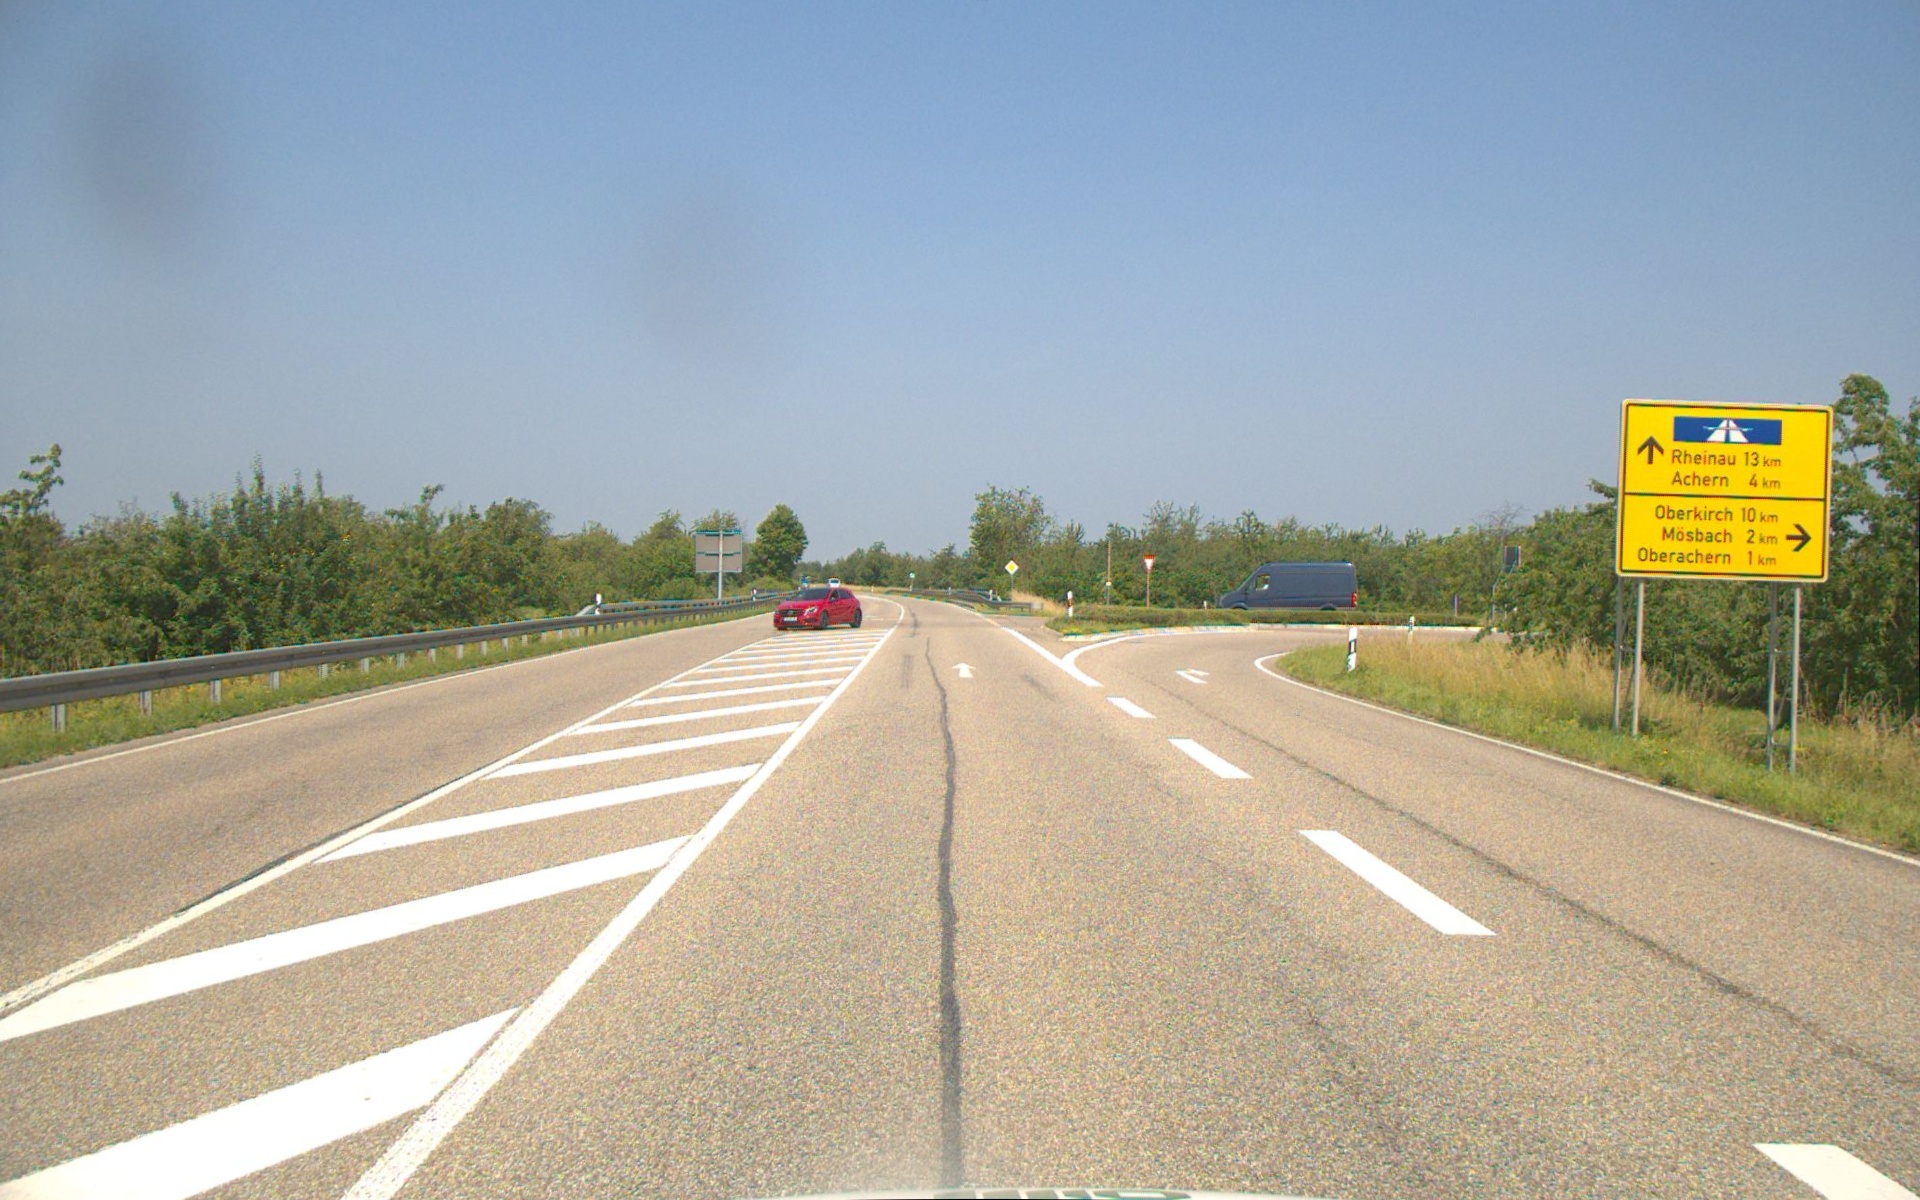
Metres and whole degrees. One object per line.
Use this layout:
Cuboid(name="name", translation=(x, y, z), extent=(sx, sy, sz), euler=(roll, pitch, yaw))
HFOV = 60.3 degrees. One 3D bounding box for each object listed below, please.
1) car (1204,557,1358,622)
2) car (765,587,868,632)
Cuboid(name="car", translation=(13.313, -0.413, 68.652), extent=(6.157, 2.620, 2.064), euler=(-1, 0, 11))
Cuboid(name="car", translation=(-4.896, 0.306, 57.105), extent=(1.778, 1.474, 4.496), euler=(0, 0, 20))
